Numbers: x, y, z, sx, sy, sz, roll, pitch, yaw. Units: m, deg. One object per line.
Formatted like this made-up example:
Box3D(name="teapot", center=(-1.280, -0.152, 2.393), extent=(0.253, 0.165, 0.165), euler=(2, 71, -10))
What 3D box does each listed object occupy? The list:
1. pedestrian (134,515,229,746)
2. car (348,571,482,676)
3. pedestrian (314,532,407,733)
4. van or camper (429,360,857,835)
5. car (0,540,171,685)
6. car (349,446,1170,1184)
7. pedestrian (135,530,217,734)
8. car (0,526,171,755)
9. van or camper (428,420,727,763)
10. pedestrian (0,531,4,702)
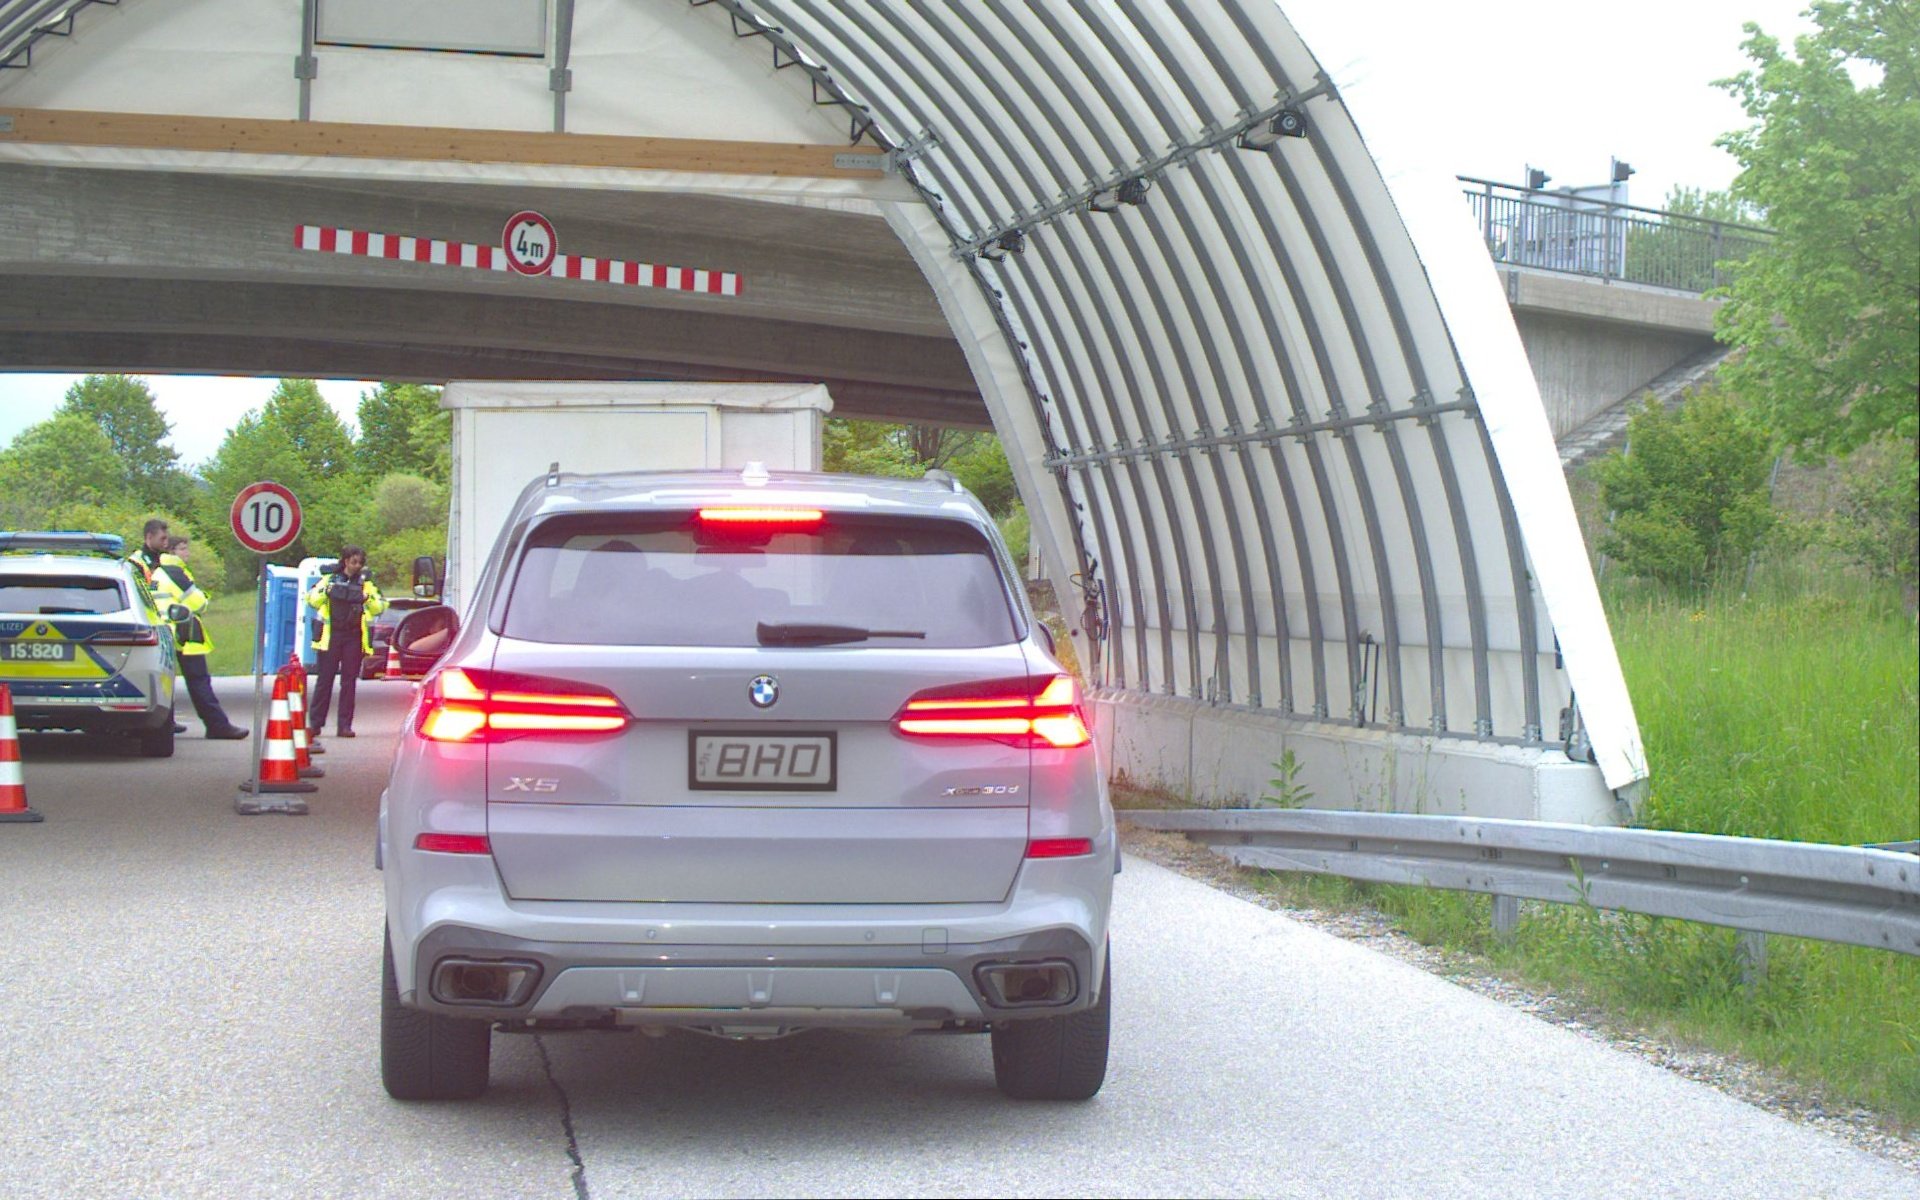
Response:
Box3D(name="pedestrian", center=(-6.553, 0.247, 28.923), extent=(0.749, 1.912, 0.763), euler=(0, 0, -15))
Box3D(name="car", center=(-9.347, 0.368, 58.750), extent=(1.993, 1.716, 3.897), euler=(0, 0, -13))
Box3D(name="pedestrian", center=(-5.187, 0.271, 29.754), extent=(0.779, 1.716, 0.757), euler=(0, 0, -10))
Box3D(name="van or camper", center=(-2.207, -0.042, 21.837), extent=(2.229, 2.543, 6.612), euler=(0, 0, -9))
Box3D(name="car", center=(-13.865, 0.159, 48.910), extent=(4.807, 2.007, 1.840), euler=(0, 0, 7))
Box3D(name="car", center=(-0.787, 0.494, 10.328), extent=(1.993, 1.759, 4.001), euler=(0, 0, -9))
Box3D(name="pedestrian", center=(-6.808, 0.273, 29.869), extent=(0.609, 1.748, 0.666), euler=(0, 0, -6))
Box3D(name="car", center=(-7.156, 0.278, 26.737), extent=(1.877, 1.641, 4.001), euler=(0, 0, -14))
Box3D(name="van or camper", center=(-3.233, -0.084, 28.058), extent=(2.103, 2.510, 5.552), euler=(0, 0, -10))
Box3D(name="pedestrian", center=(-11.557, 0.193, 39.965), extent=(0.701, 2.007, 0.692), euler=(0, 0, -1))
